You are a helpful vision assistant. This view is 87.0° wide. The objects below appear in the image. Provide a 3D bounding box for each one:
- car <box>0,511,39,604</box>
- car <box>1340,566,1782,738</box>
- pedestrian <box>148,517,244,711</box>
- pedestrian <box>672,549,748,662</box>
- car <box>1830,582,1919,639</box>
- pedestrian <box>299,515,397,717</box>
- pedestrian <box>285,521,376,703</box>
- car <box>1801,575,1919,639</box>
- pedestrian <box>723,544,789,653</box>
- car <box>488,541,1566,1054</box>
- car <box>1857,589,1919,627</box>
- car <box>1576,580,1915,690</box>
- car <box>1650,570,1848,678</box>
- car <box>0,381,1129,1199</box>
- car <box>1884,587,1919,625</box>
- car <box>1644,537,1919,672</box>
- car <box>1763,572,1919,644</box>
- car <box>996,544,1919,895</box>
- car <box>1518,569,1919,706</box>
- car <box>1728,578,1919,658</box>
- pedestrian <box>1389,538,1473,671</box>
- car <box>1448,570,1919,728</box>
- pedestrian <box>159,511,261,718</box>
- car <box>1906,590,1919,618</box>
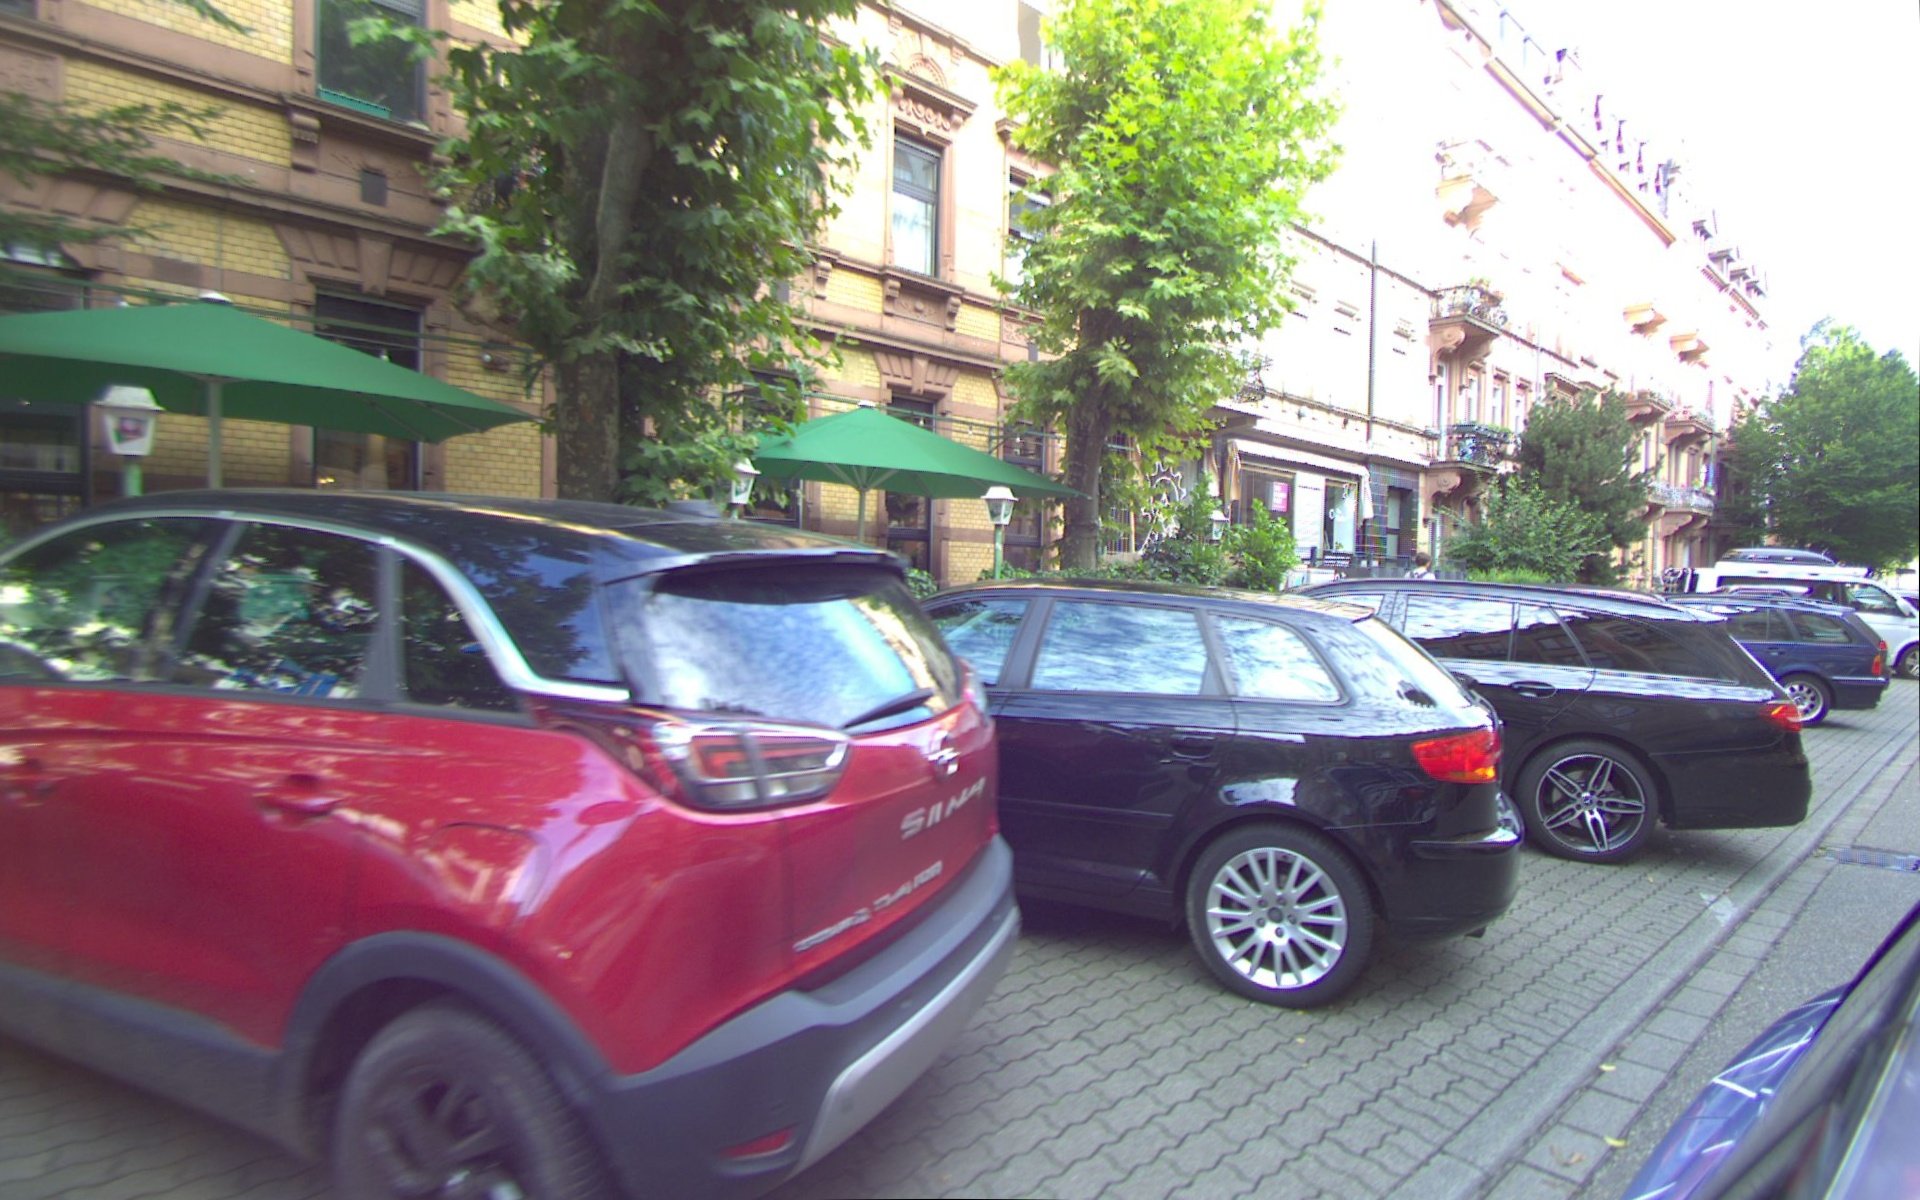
[{"bbox_3d":[-22.440,-0.940,21.103,4.332,1.973,2.005,1,1,-19],"label":"car"},{"bbox_3d":[6.262,0.473,10.994,3.660,1.503,1.736,3,2,10],"label":"car"},{"bbox_3d":[-6.559,0.103,8.688,0.628,1.589,0.561,3,1,44],"label":"pedestrian"},{"bbox_3d":[-2.855,0.051,11.570,0.486,1.234,0.640,5,4,39],"label":"pedestrian"},{"bbox_3d":[31.801,0.372,33.577,3.947,1.762,1.830,3,2,18],"label":"car"},{"bbox_3d":[-5.318,0.114,8.792,0.646,1.662,0.555,6,4,44],"label":"pedestrian"},{"bbox_3d":[-5.770,0.094,9.271,0.628,1.589,0.561,3,1,44],"label":"pedestrian"},{"bbox_3d":[29.718,0.247,32.006,4.344,1.844,1.747,3,3,17],"label":"car"},{"bbox_3d":[-2.413,-0.025,11.988,0.464,1.234,0.556,5,3,39],"label":"pedestrian"},{"bbox_3d":[0.149,0.519,4.769,4.367,1.475,1.927,2,1,24],"label":"car"},{"bbox_3d":[41.241,0.426,42.765,4.549,1.469,1.784,3,2,16],"label":"car"},{"bbox_3d":[12.591,0.515,16.471,3.926,1.477,1.748,3,2,7],"label":"car"},{"bbox_3d":[14.326,0.395,18.518,2.441,1.687,1.337,5,2,22],"label":"car"},{"bbox_3d":[-1.848,0.363,3.074,4.306,1.665,1.808,4,2,23],"label":"car"},{"bbox_3d":[45.820,0.325,46.904,3.940,1.720,1.845,2,1,14],"label":"car"},{"bbox_3d":[16.965,0.053,20.125,5.087,2.434,1.909,2,2,16],"label":"car"},{"bbox_3d":[26.473,0.260,29.367,1.779,1.806,4.645,3,2,-43],"label":"car"},{"bbox_3d":[2.810,0.522,6.671,4.711,1.475,2.043,4,2,21],"label":"car"},{"bbox_3d":[10.778,0.461,14.465,4.396,1.495,1.885,4,2,9],"label":"car"},{"bbox_3d":[21.170,0.409,23.859,4.391,1.754,1.992,1,0,14],"label":"car"},{"bbox_3d":[6.970,0.047,14.984,0.709,1.901,0.842,1,1,-38],"label":"pedestrian"},{"bbox_3d":[8.702,0.505,12.504,4.404,1.482,1.872,4,2,14],"label":"car"},{"bbox_3d":[-6.066,0.098,8.186,0.628,1.589,0.561,3,1,44],"label":"pedestrian"},{"bbox_3d":[57.560,0.364,57.791,4.742,1.562,1.862,3,3,16],"label":"car"}]
